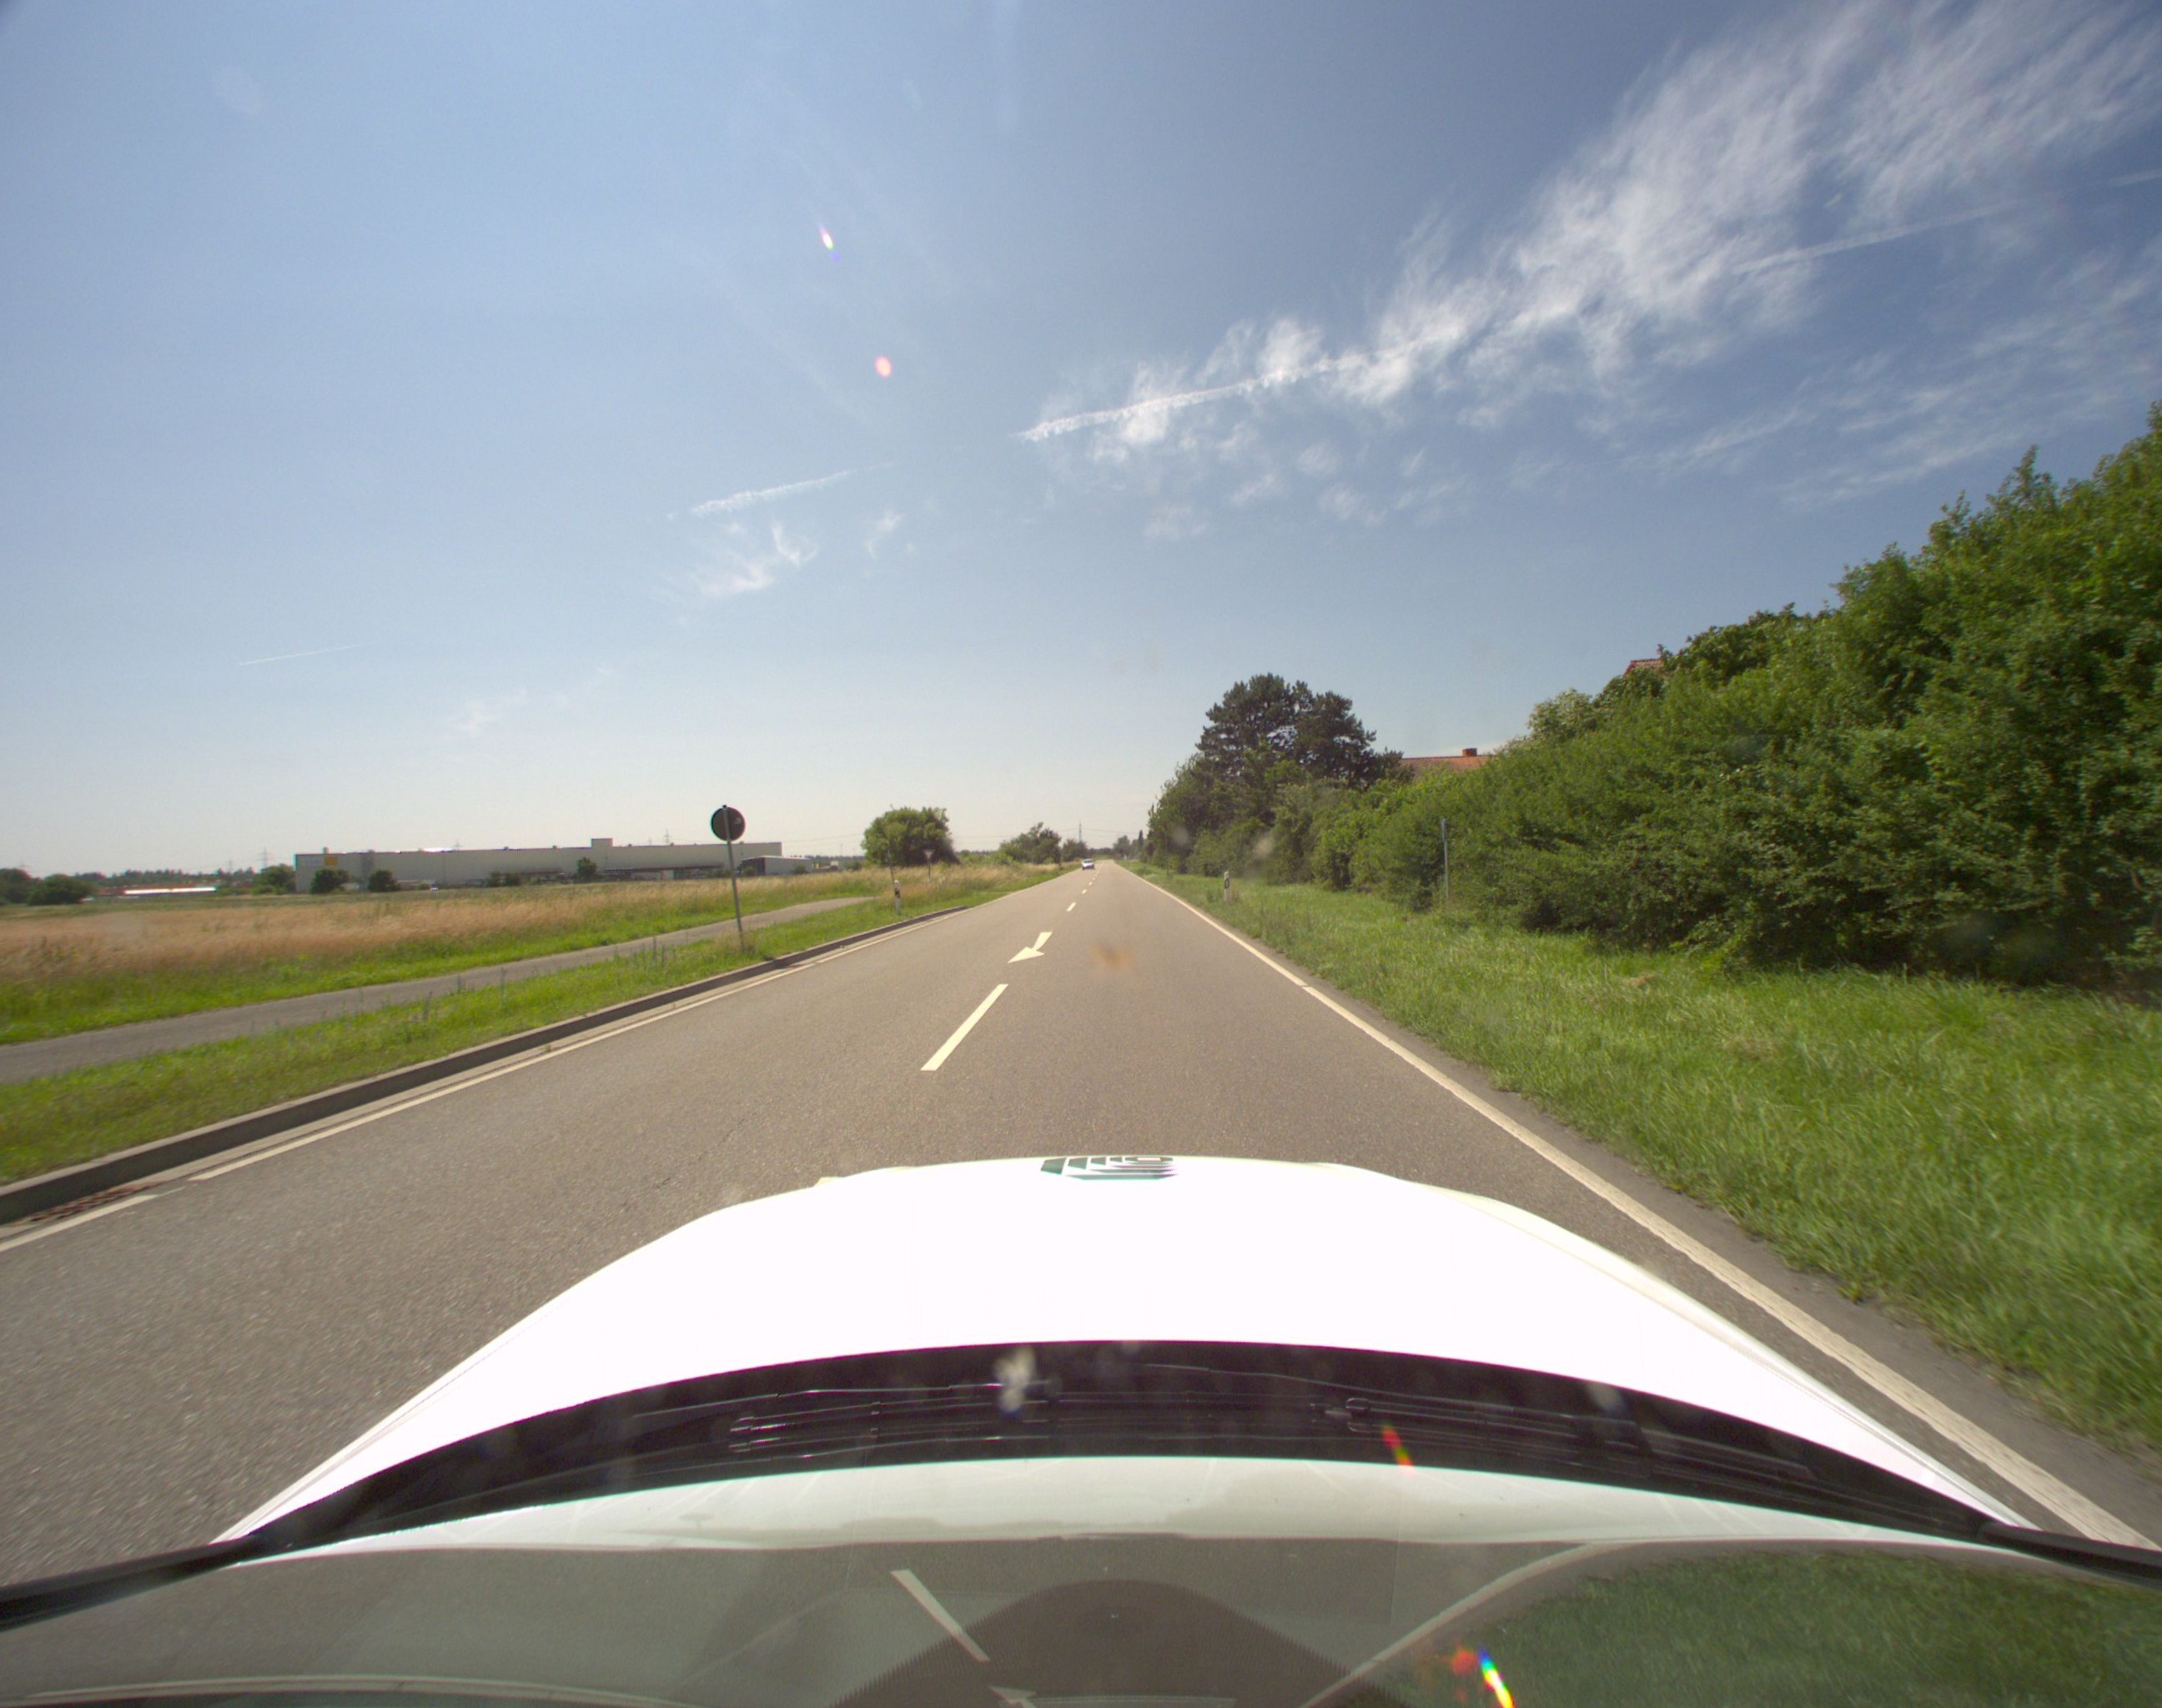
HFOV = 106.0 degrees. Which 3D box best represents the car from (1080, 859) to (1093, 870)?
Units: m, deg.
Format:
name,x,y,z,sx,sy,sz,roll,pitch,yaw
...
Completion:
name,x,y,z,sx,sy,sz,roll,pitch,yaw
car,0.780,1.518,117.372,1.672,1.421,4.423,-4,0,1
